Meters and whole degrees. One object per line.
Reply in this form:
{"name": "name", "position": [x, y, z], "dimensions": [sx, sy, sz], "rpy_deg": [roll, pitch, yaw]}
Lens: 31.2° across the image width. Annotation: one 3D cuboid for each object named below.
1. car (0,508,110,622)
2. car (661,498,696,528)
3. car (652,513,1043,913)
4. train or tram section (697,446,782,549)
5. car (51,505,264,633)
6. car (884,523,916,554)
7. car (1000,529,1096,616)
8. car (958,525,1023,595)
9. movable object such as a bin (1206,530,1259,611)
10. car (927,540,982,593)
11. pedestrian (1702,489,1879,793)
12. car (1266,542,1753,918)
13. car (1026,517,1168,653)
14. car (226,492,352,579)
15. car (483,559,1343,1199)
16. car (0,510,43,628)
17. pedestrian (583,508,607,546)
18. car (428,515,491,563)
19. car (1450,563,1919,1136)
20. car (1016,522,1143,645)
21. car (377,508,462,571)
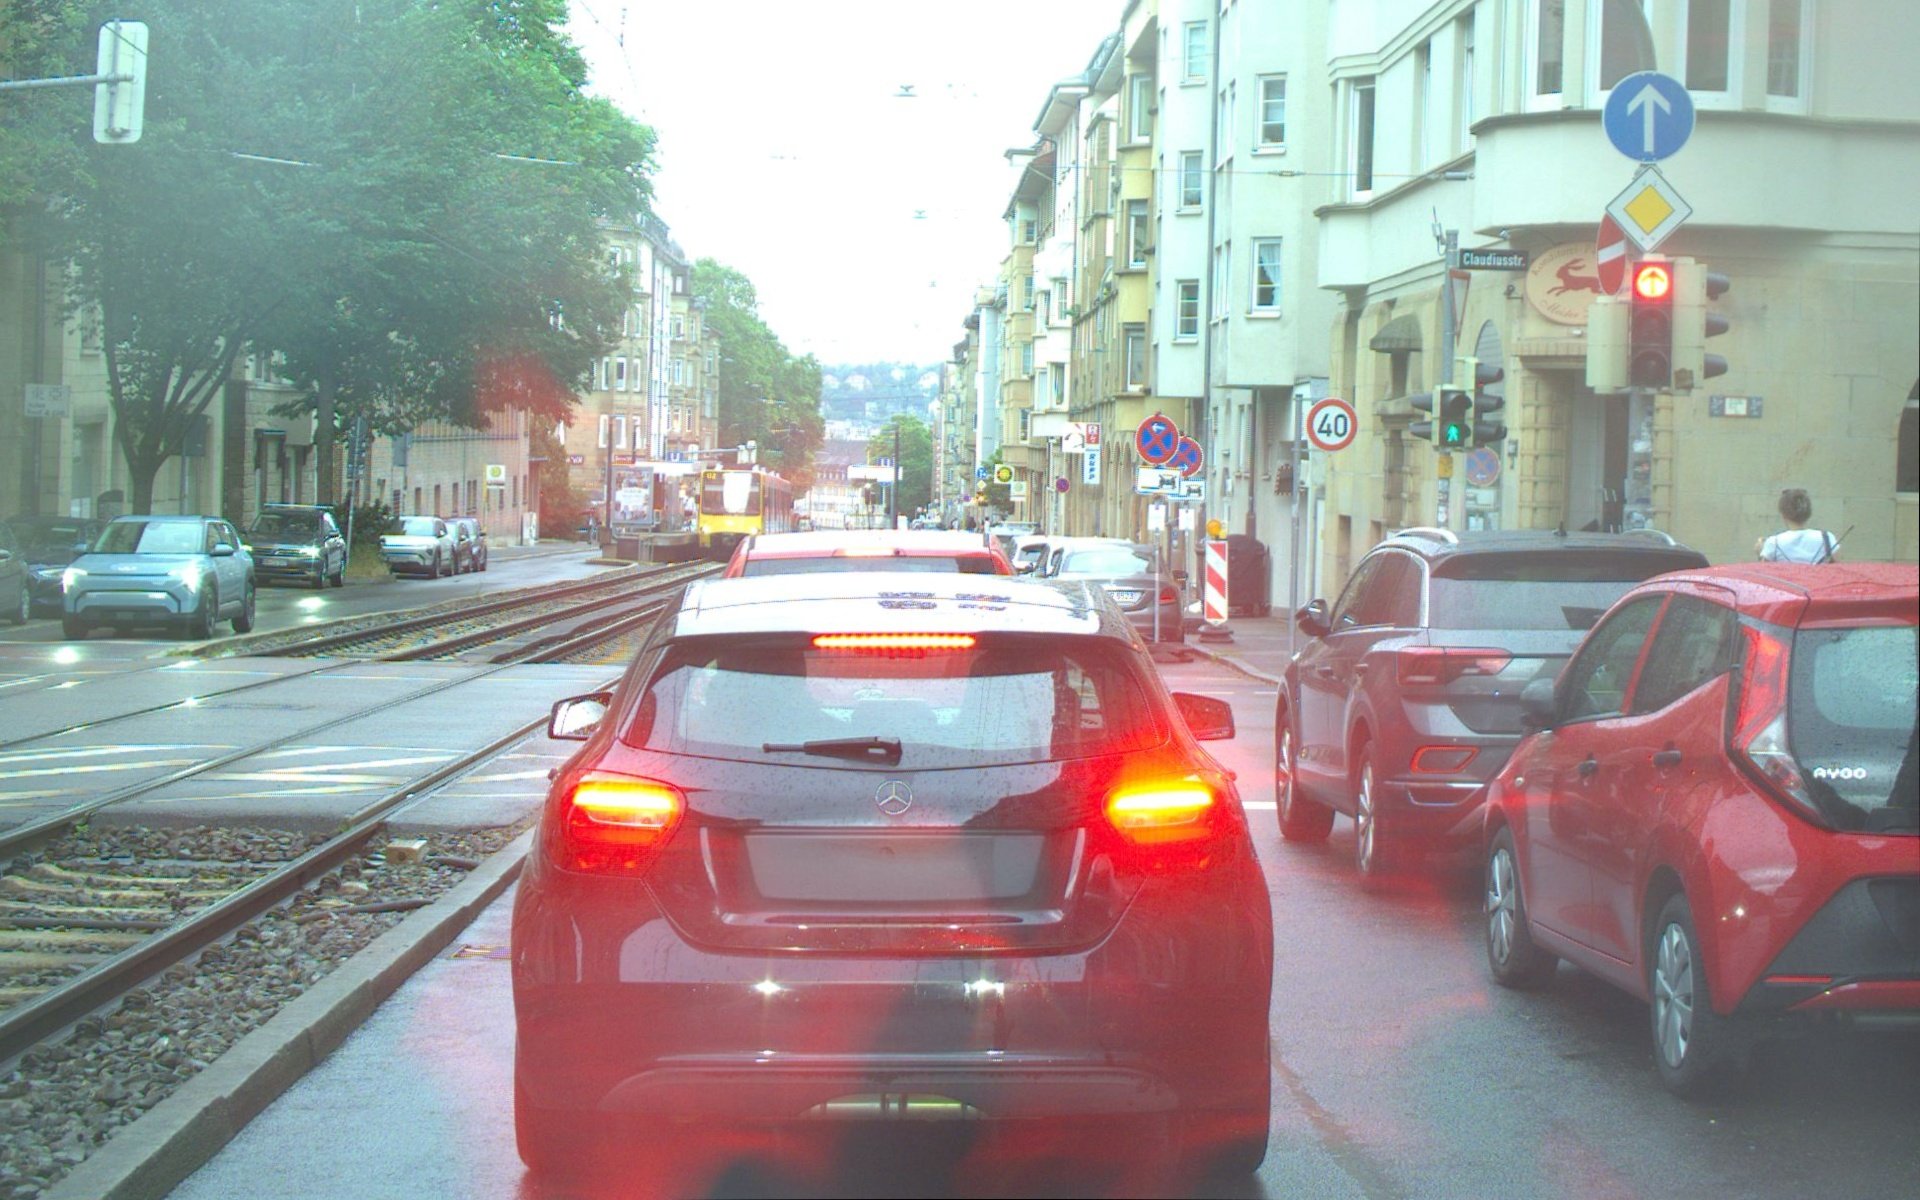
{"name": "car", "position": [-13.737, -0.516, 50.731], "dimensions": [1.716, 1.605, 3.919], "rpy_deg": [1, 0, -5]}
{"name": "car", "position": [-12.324, -3.820, 150.805], "dimensions": [1.377, 1.245, 3.298], "rpy_deg": [1, 0, -2]}
{"name": "car", "position": [-0.481, 0.441, 15.852], "dimensions": [1.565, 1.604, 3.814], "rpy_deg": [1, 0, -1]}
{"name": "train or tram section", "position": [-8.759, -4.030, 137.627], "dimensions": [2.783, 3.847, 10.430], "rpy_deg": [1, 0, -1]}
{"name": "car", "position": [-10.460, -0.411, 45.087], "dimensions": [1.898, 1.582, 3.973], "rpy_deg": [1, 0, -1]}
{"name": "car", "position": [-3.784, -3.885, 216.655], "dimensions": [1.993, 1.870, 4.000], "rpy_deg": [1, 0, -1]}
{"name": "car", "position": [1.553, -0.506, 61.533], "dimensions": [1.544, 1.481, 3.548], "rpy_deg": [1, 1, -1]}
{"name": "car", "position": [0.634, -0.866, 73.602], "dimensions": [1.294, 1.437, 2.929], "rpy_deg": [1, 1, -1]}
{"name": "movable object such as a bin", "position": [4.711, -0.510, 59.580], "dimensions": [0.878, 1.384, 0.982], "rpy_deg": [1, 0, 3]}
{"name": "car", "position": [-0.169, -1.066, 109.186], "dimensions": [1.545, 1.630, 3.686], "rpy_deg": [1, 1, 2]}
{"name": "pedestrian", "position": [4.894, 0.231, 20.316], "dimensions": [0.741, 1.742, 1.111], "rpy_deg": [1, 0, -1]}
{"name": "car", "position": [2.384, 0.492, 15.771], "dimensions": [1.544, 1.481, 3.830], "rpy_deg": [1, 1, -1]}
{"name": "car", "position": [1.667, -0.211, 42.648], "dimensions": [1.544, 1.585, 3.548], "rpy_deg": [1, 1, -1]}
{"name": "car", "position": [-13.958, -1.327, 71.710], "dimensions": [1.875, 1.731, 3.918], "rpy_deg": [1, 0, -1]}
{"name": "car", "position": [-0.128, 0.644, 9.465], "dimensions": [1.829, 1.453, 4.104], "rpy_deg": [1, 1, -1]}
{"name": "car", "position": [-13.484, -0.427, 45.701], "dimensions": [1.752, 1.547, 4.036], "rpy_deg": [1, 0, -4]}
{"name": "pedestrian", "position": [-18.983, -3.788, 178.668], "dimensions": [1.053, 1.951, 1.043], "rpy_deg": [2, 1, 1]}
{"name": "car", "position": [-14.338, -1.737, 98.582], "dimensions": [1.448, 1.326, 3.272], "rpy_deg": [1, 0, -2]}
{"name": "car", "position": [2.648, 0.637, 10.533], "dimensions": [1.642, 1.443, 3.299], "rpy_deg": [1, 1, -3]}
{"name": "car", "position": [1.611, -0.249, 47.123], "dimensions": [1.544, 1.585, 3.548], "rpy_deg": [1, 1, -1]}
{"name": "car", "position": [-13.995, -1.549, 89.173], "dimensions": [1.589, 1.575, 3.918], "rpy_deg": [1, 0, -1]}
